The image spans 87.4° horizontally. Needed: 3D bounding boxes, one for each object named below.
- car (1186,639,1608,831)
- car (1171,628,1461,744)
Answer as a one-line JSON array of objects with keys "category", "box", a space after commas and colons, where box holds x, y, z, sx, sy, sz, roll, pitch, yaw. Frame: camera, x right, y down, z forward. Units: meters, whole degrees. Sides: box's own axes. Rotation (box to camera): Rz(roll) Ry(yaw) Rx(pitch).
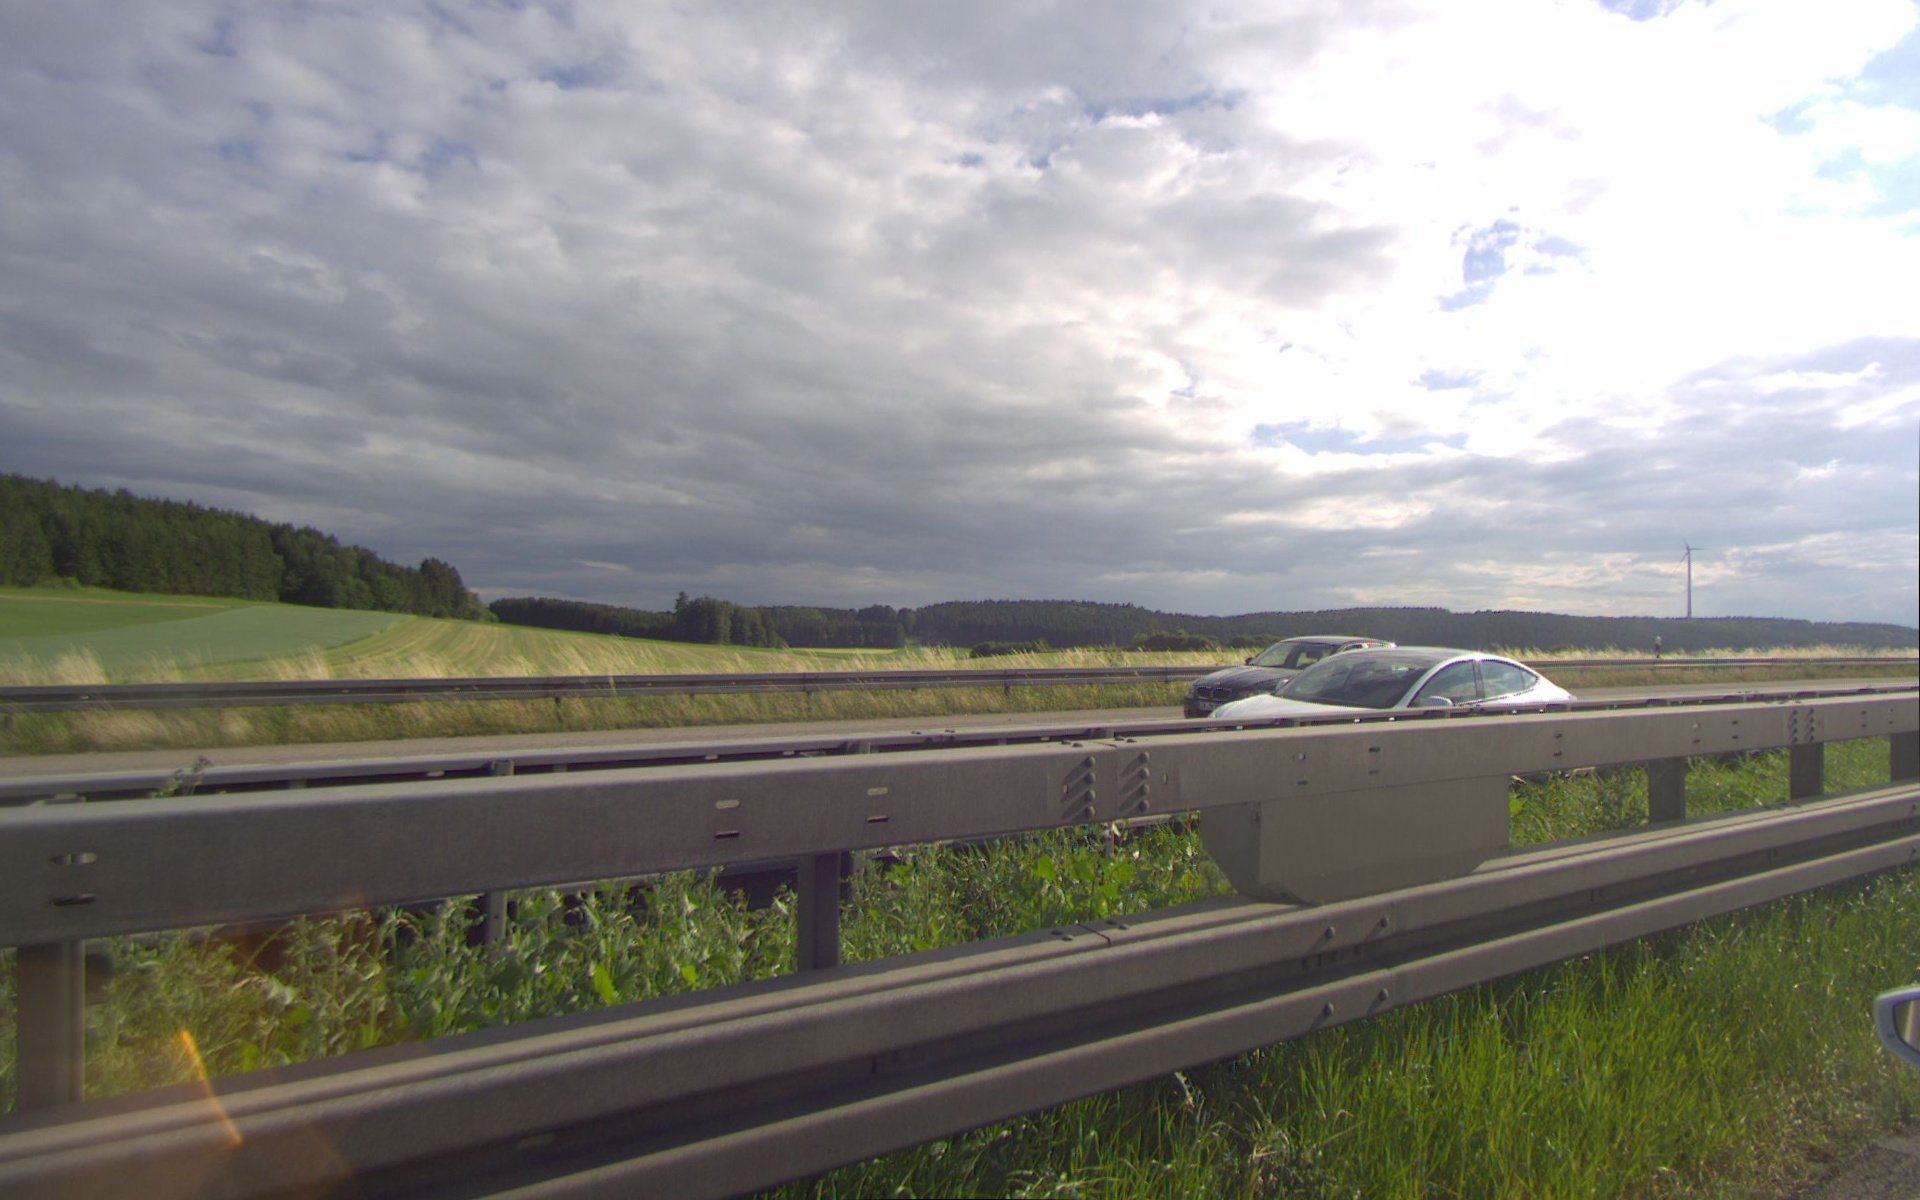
[{"category": "car", "box": [4.583, 1.236, 10.341, 4.429, 1.541, 1.740, 2, -1, -31]}, {"category": "car", "box": [5.467, 1.236, 15.260, 4.429, 1.499, 1.740, 2, -1, -31]}]
